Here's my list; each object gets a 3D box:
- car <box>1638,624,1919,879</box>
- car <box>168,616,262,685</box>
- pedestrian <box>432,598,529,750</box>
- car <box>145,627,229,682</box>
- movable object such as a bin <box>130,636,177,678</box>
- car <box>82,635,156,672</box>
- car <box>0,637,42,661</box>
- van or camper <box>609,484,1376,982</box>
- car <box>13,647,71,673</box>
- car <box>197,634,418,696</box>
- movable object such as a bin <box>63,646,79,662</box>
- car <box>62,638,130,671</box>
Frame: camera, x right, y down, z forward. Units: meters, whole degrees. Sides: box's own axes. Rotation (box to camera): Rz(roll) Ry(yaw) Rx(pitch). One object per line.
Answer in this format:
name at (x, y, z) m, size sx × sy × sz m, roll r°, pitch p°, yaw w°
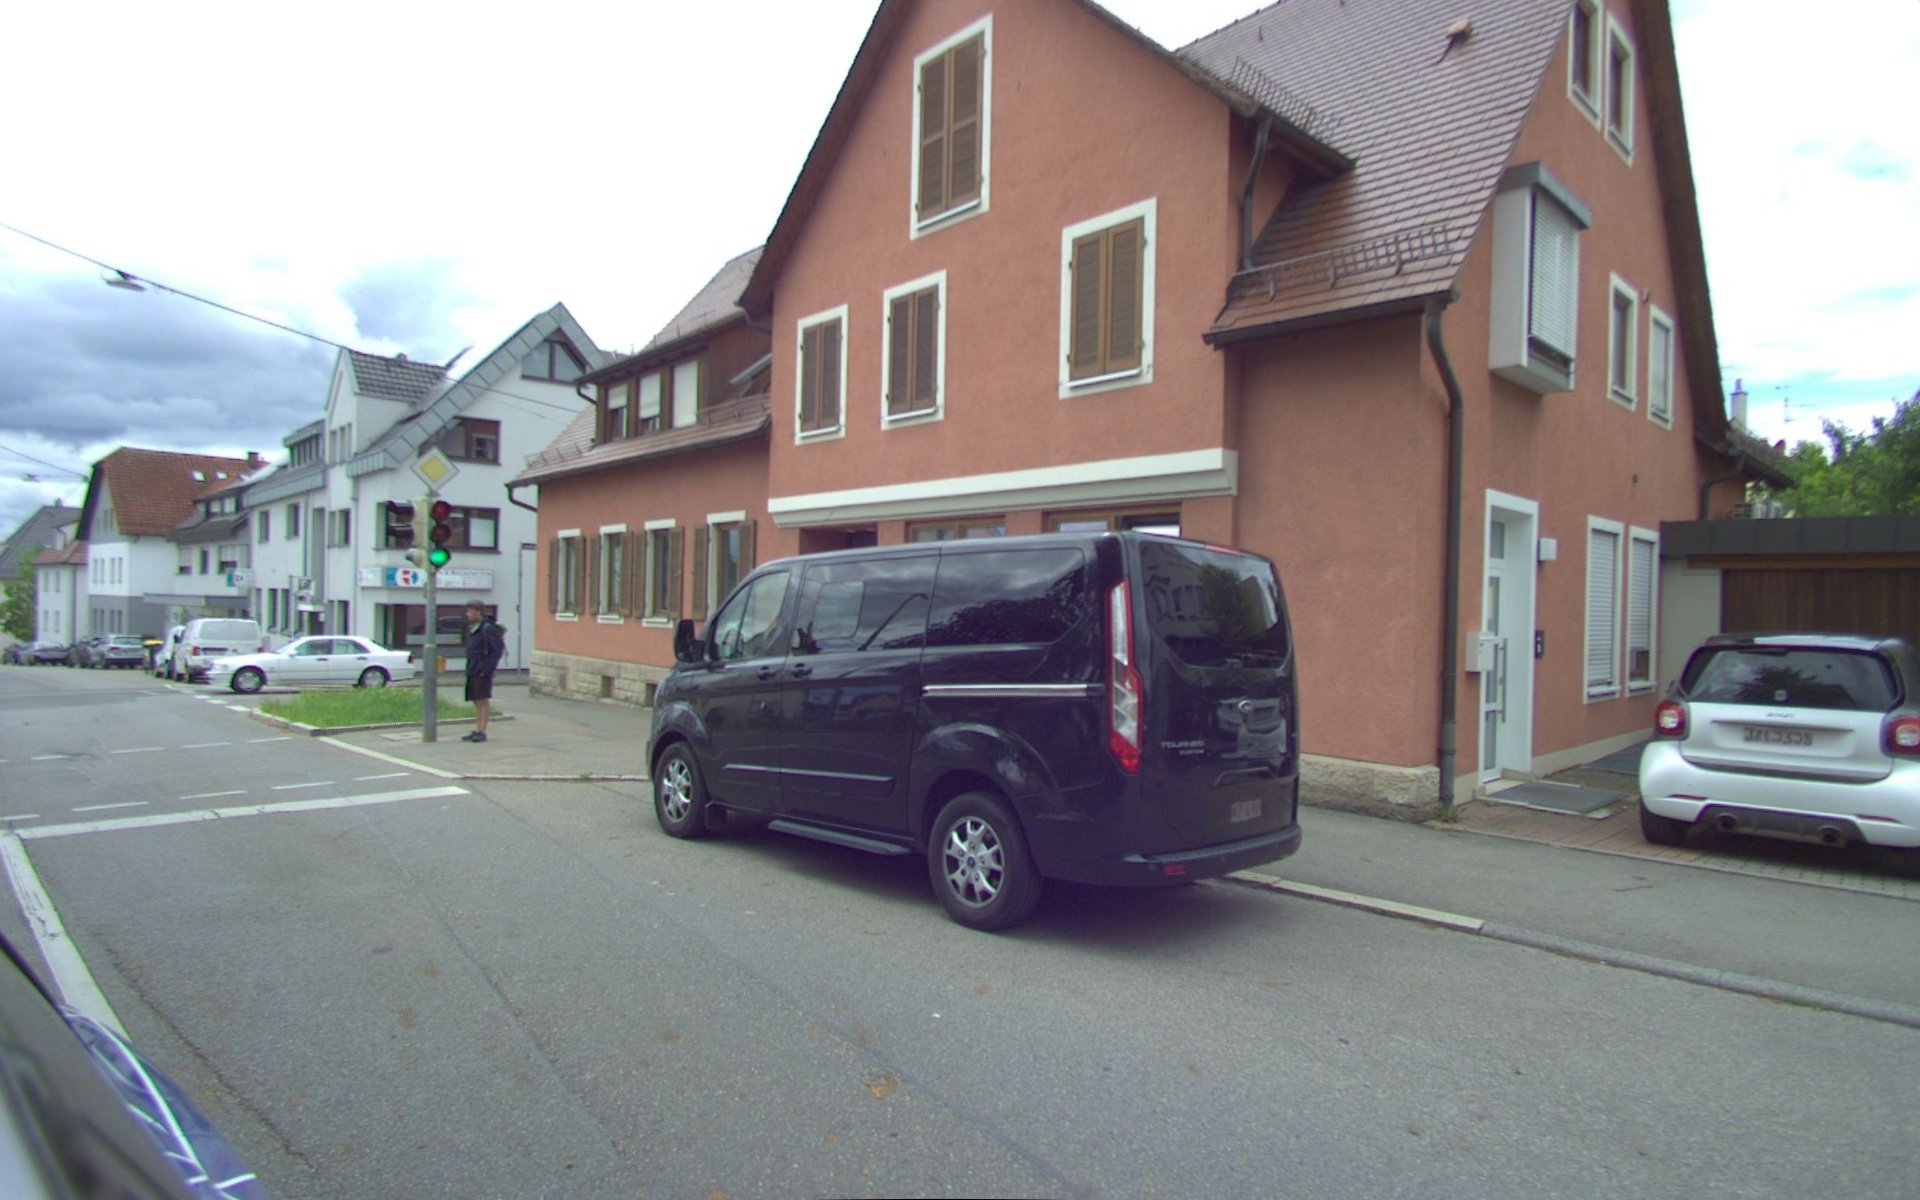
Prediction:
car at (6.345, 0.931, 7.353) m, size 2.795 × 1.486 × 1.744 m, roll 1°, pitch -1°, yaw -42°
car at (-23.599, 1.620, 31.980) m, size 1.790 × 2.021 × 4.767 m, roll 4°, pitch -5°, yaw -43°
pedestrian at (-5.974, 0.883, 12.601) m, size 0.879 × 1.798 × 0.803 m, roll 0°, pitch -2°, yaw -44°
car at (-27.575, 1.937, 36.059) m, size 4.299 × 1.846 × 1.713 m, roll -3°, pitch -5°, yaw 45°
movable object such as a bin at (-32.053, 2.259, 40.217) m, size 1.561 × 1.645 × 1.129 m, roll -3°, pitch -4°, yaw 38°
car at (-40.060, 2.548, 48.163) m, size 4.403 × 1.645 × 1.819 m, roll -3°, pitch -4°, yaw 39°
car at (-60.097, 3.118, 64.307) m, size 3.992 × 1.456 × 1.821 m, roll -2°, pitch -4°, yaw 36°
van or camper at (-0.157, 0.677, 6.576) m, size 4.859 × 2.021 × 2.050 m, roll -3°, pitch -5°, yaw 45°
car at (-54.977, 3.592, 60.604) m, size 4.462 × 1.456 × 1.819 m, roll -3°, pitch -4°, yaw 38°
car at (-16.568, 1.634, 25.812) m, size 4.496 × 1.456 × 2.003 m, roll 3°, pitch -4°, yaw -40°
movable object such as a bin at (-60.715, 3.711, 69.140) m, size 0.758 × 1.053 × 0.670 m, roll -2°, pitch 0°, yaw 38°
car at (-44.439, 2.809, 52.025) m, size 4.403 × 1.645 × 1.819 m, roll -3°, pitch -4°, yaw 39°
